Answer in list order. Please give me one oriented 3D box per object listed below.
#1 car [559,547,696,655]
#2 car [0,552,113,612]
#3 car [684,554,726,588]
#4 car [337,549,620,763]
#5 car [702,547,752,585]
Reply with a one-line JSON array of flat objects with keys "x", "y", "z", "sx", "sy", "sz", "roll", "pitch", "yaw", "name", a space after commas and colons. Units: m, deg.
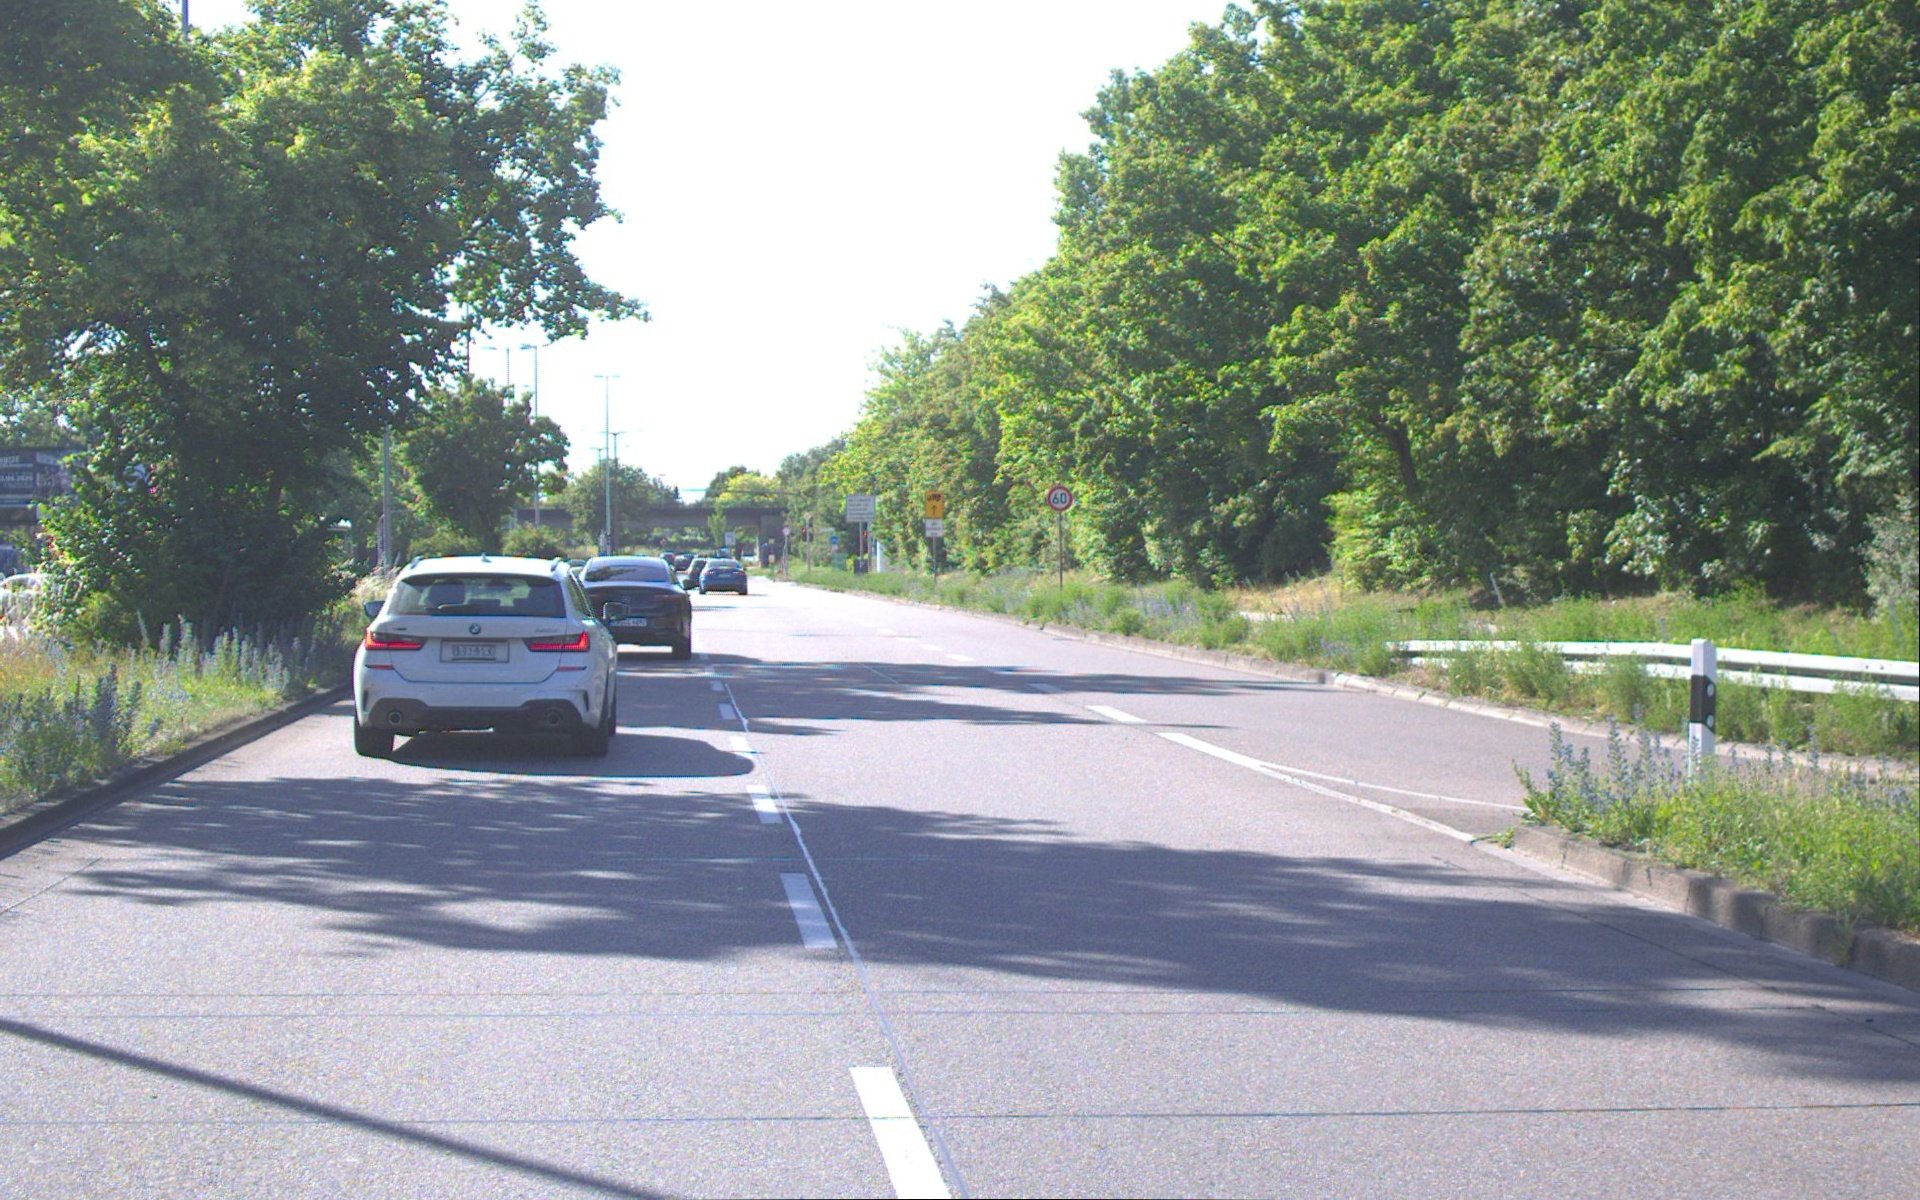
[{"x": -4.792, "y": -0.020, "z": 49.671, "sx": 1.861, "sy": 1.450, "sz": 4.548, "roll": -1, "pitch": 1, "yaw": -5, "name": "car"}, {"x": -26.550, "y": -0.523, "z": 99.298, "sx": 4.119, "sy": 1.656, "sz": 1.888, "roll": 0, "pitch": 1, "yaw": 38, "name": "car"}, {"x": -12.042, "y": -1.392, "z": 162.073, "sx": 1.771, "sy": 1.550, "sz": 3.834, "roll": -1, "pitch": 1, "yaw": -6, "name": "car"}, {"x": -3.566, "y": 0.360, "z": 26.152, "sx": 1.861, "sy": 1.450, "sz": 4.548, "roll": 1, "pitch": 1, "yaw": -5, "name": "car"}, {"x": -9.373, "y": -1.385, "z": 138.087, "sx": 1.861, "sy": 1.494, "sz": 4.337, "roll": 0, "pitch": 1, "yaw": -5, "name": "car"}]
